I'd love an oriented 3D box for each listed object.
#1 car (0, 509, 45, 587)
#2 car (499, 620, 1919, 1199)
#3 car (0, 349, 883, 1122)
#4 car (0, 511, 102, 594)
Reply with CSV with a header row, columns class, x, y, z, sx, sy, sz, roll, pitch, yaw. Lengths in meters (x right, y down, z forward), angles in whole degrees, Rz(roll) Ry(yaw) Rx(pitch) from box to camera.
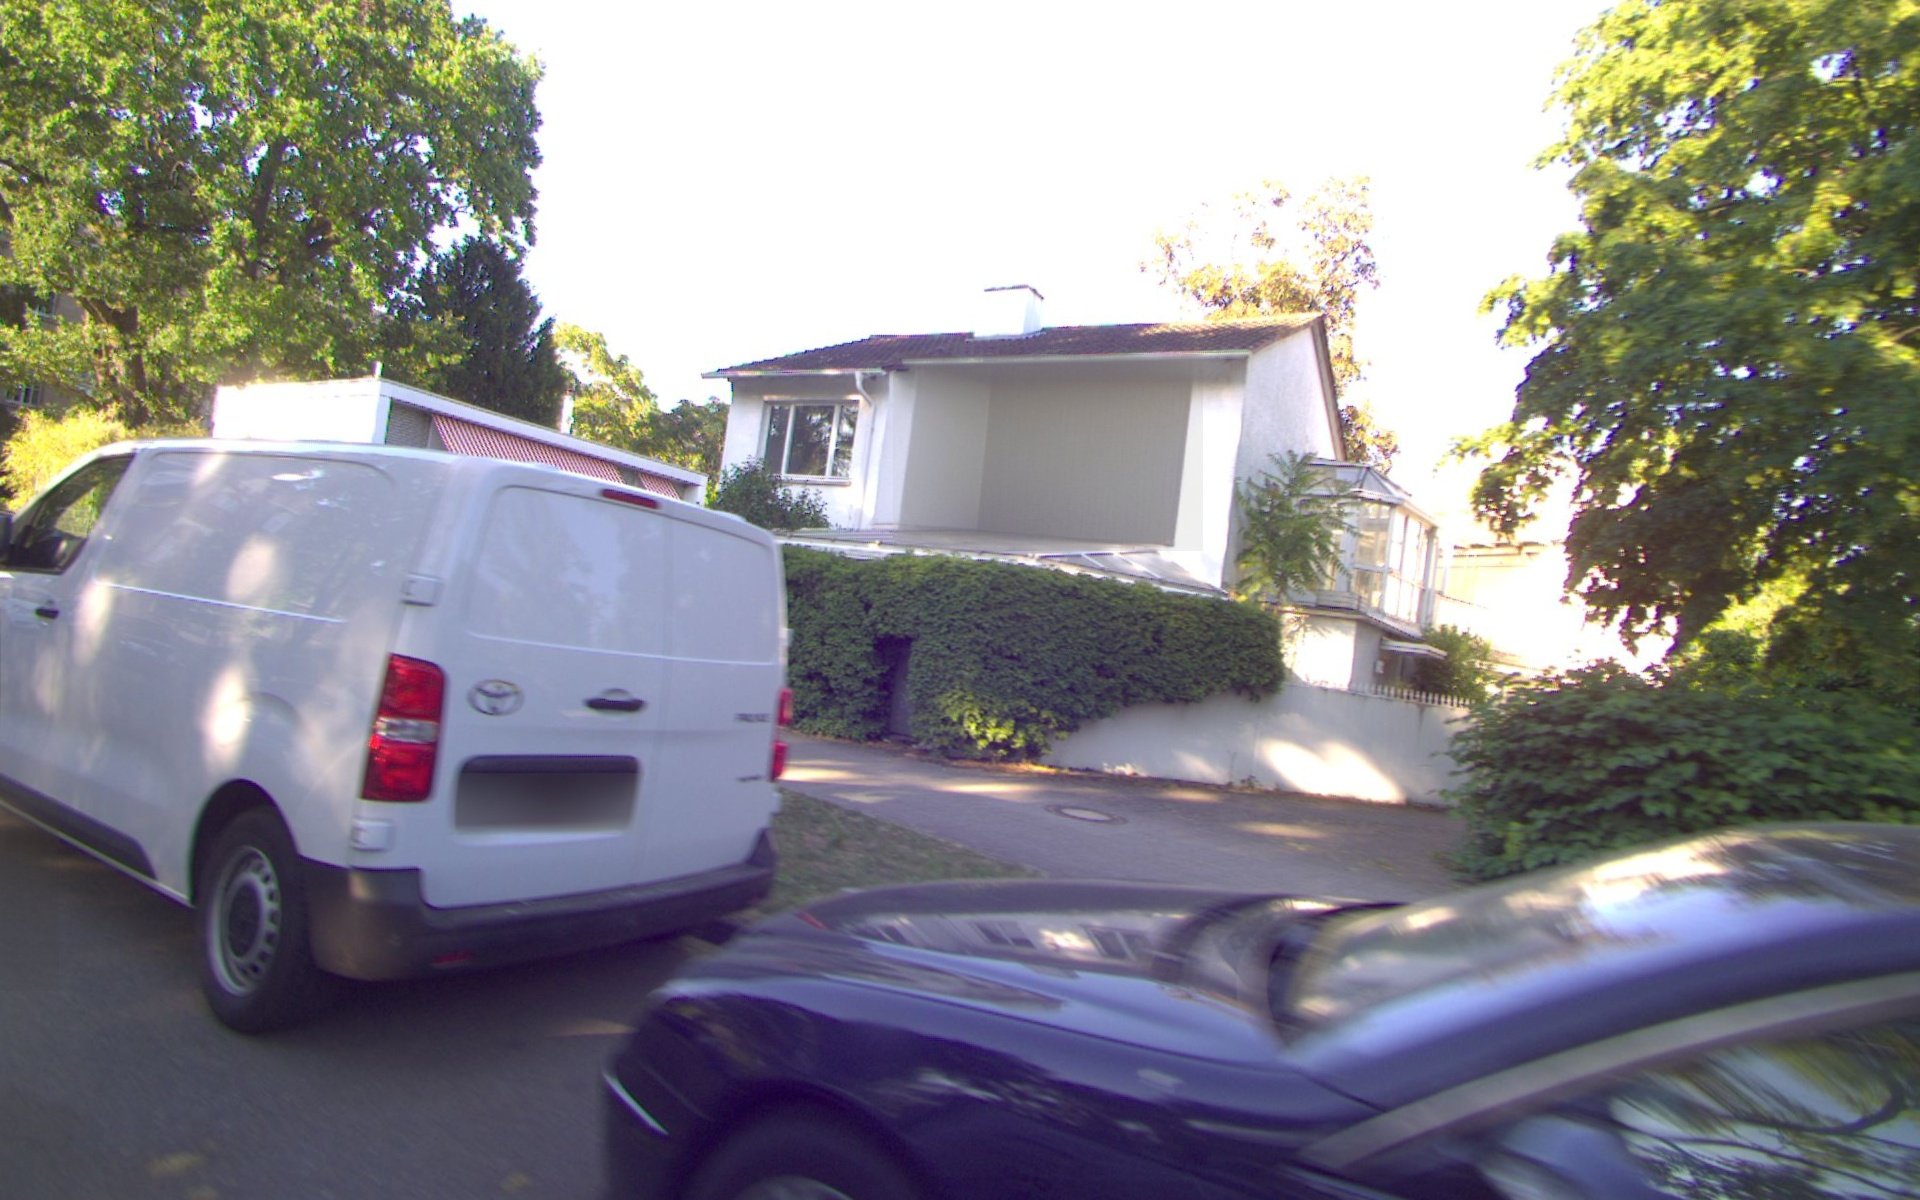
class,x,y,z,sx,sy,sz,roll,pitch,yaw
car,-21.236,-1.337,20.238,1.761,1.541,3.692,7,-3,29
car,1.623,1.110,1.505,4.784,1.484,1.770,7,-3,31
car,-3.108,0.209,4.787,5.067,2.036,1.957,7,-2,31
car,-19.226,-1.086,18.700,1.892,1.431,4.593,5,-2,33
